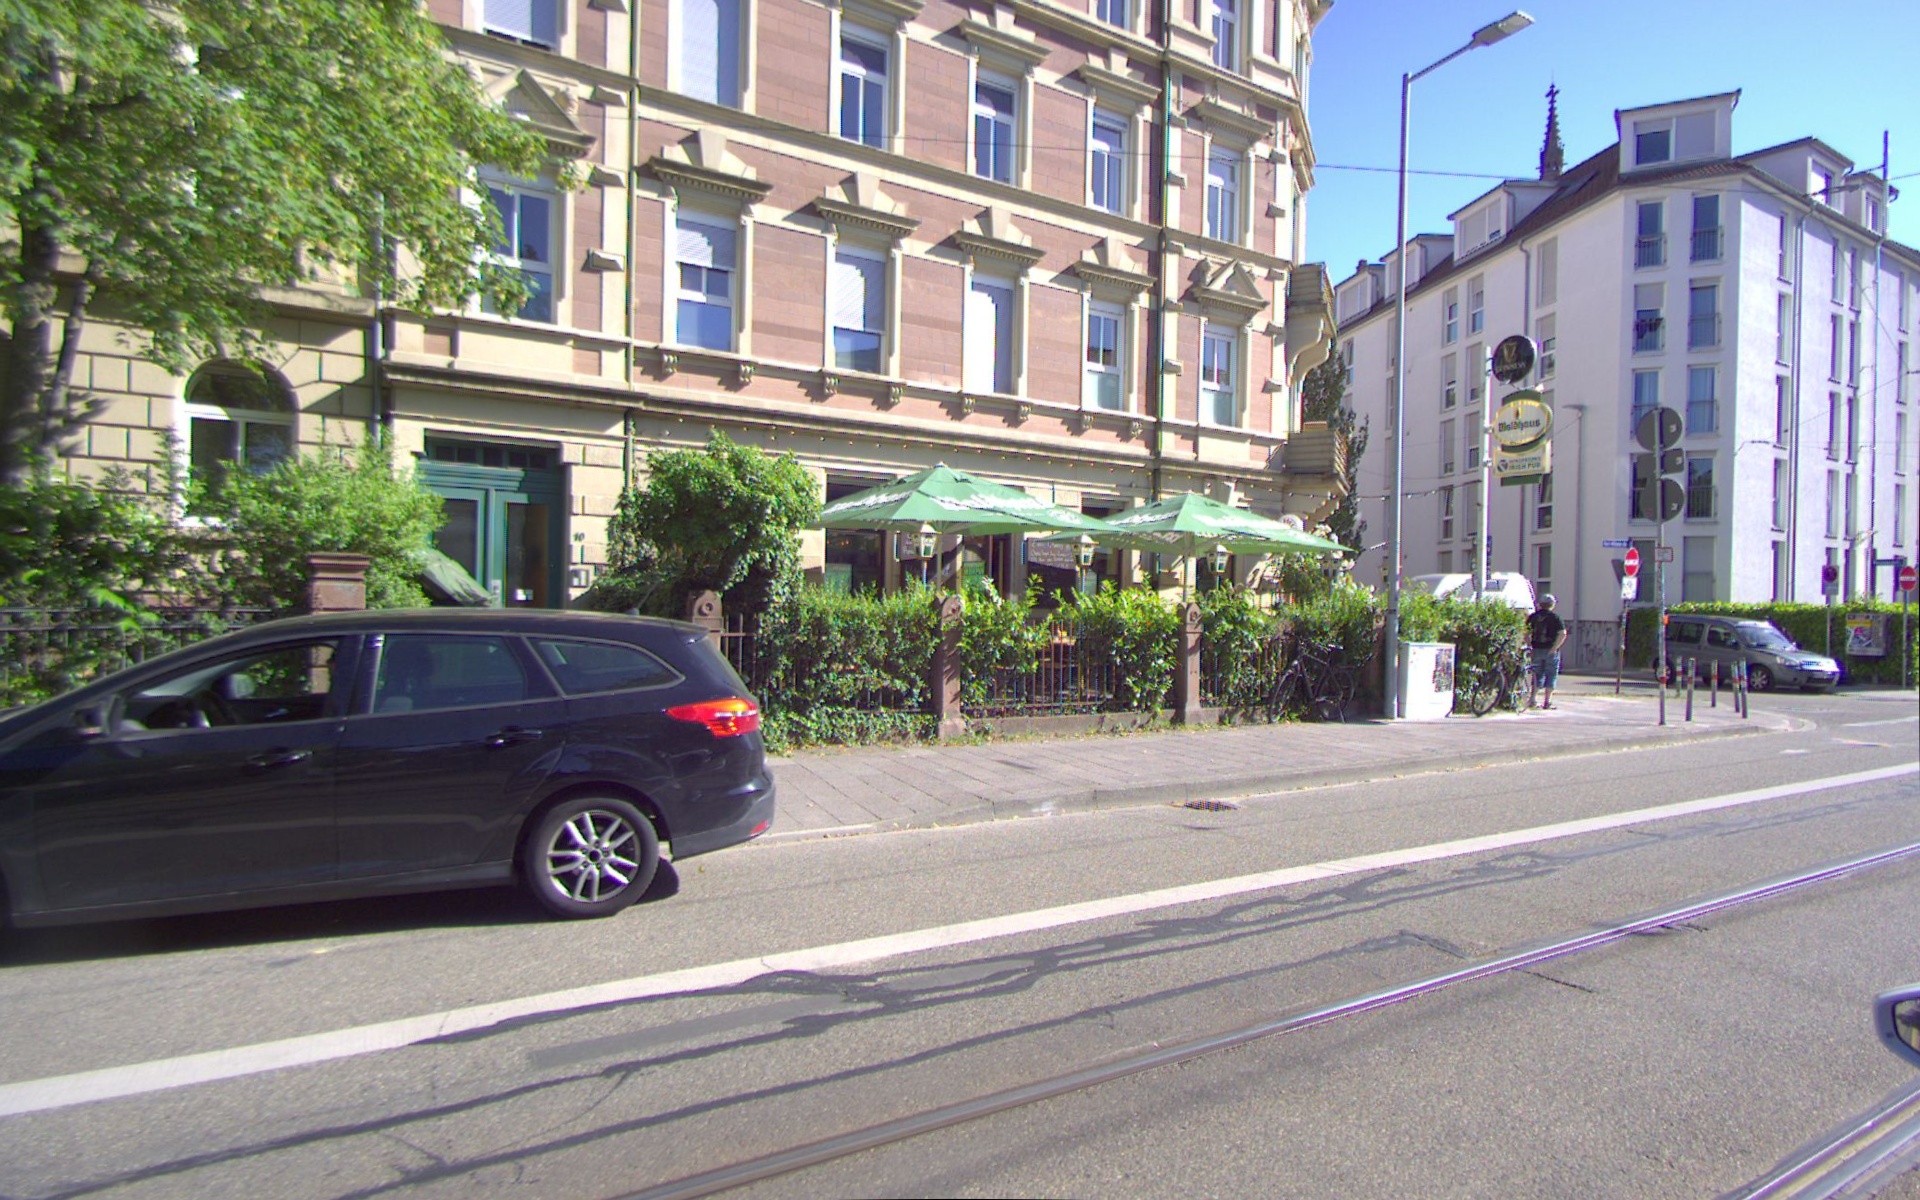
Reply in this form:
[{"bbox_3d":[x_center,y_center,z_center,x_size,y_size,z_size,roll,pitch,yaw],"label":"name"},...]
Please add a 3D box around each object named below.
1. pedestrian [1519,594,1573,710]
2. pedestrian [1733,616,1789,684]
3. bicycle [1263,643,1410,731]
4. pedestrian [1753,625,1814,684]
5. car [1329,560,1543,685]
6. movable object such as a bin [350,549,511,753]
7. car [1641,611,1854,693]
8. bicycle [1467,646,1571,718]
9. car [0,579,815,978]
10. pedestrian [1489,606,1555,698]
[{"bbox_3d":[9.332,0.809,15.999,0.533,1.805,0.553,1,0,-33],"label":"pedestrian"},{"bbox_3d":[21.131,1.305,26.511,0.743,1.737,0.806,1,1,-11],"label":"pedestrian"},{"bbox_3d":[4.928,1.103,13.071,2.197,1.052,0.511,1,0,-30],"label":"bicycle"},{"bbox_3d":[21.863,1.440,26.684,0.743,1.498,0.955,1,1,-11],"label":"pedestrian"},{"bbox_3d":[12.006,0.605,25.396,4.702,2.878,1.888,2,-1,-13],"label":"car"},{"bbox_3d":[-4.883,0.428,9.369,1.024,1.754,1.285,1,2,-14],"label":"movable object such as a bin"},{"bbox_3d":[19.457,1.242,25.065,1.759,1.831,4.048,2,-1,-9],"label":"car"},{"bbox_3d":[8.296,1.186,14.885,1.757,0.994,0.524,1,0,-30],"label":"bicycle"},{"bbox_3d":[-3.187,0.764,5.294,4.520,1.597,1.862,1,-2,-21],"label":"car"},{"bbox_3d":[10.556,0.962,18.887,0.816,1.676,0.707,2,-1,2],"label":"pedestrian"}]
